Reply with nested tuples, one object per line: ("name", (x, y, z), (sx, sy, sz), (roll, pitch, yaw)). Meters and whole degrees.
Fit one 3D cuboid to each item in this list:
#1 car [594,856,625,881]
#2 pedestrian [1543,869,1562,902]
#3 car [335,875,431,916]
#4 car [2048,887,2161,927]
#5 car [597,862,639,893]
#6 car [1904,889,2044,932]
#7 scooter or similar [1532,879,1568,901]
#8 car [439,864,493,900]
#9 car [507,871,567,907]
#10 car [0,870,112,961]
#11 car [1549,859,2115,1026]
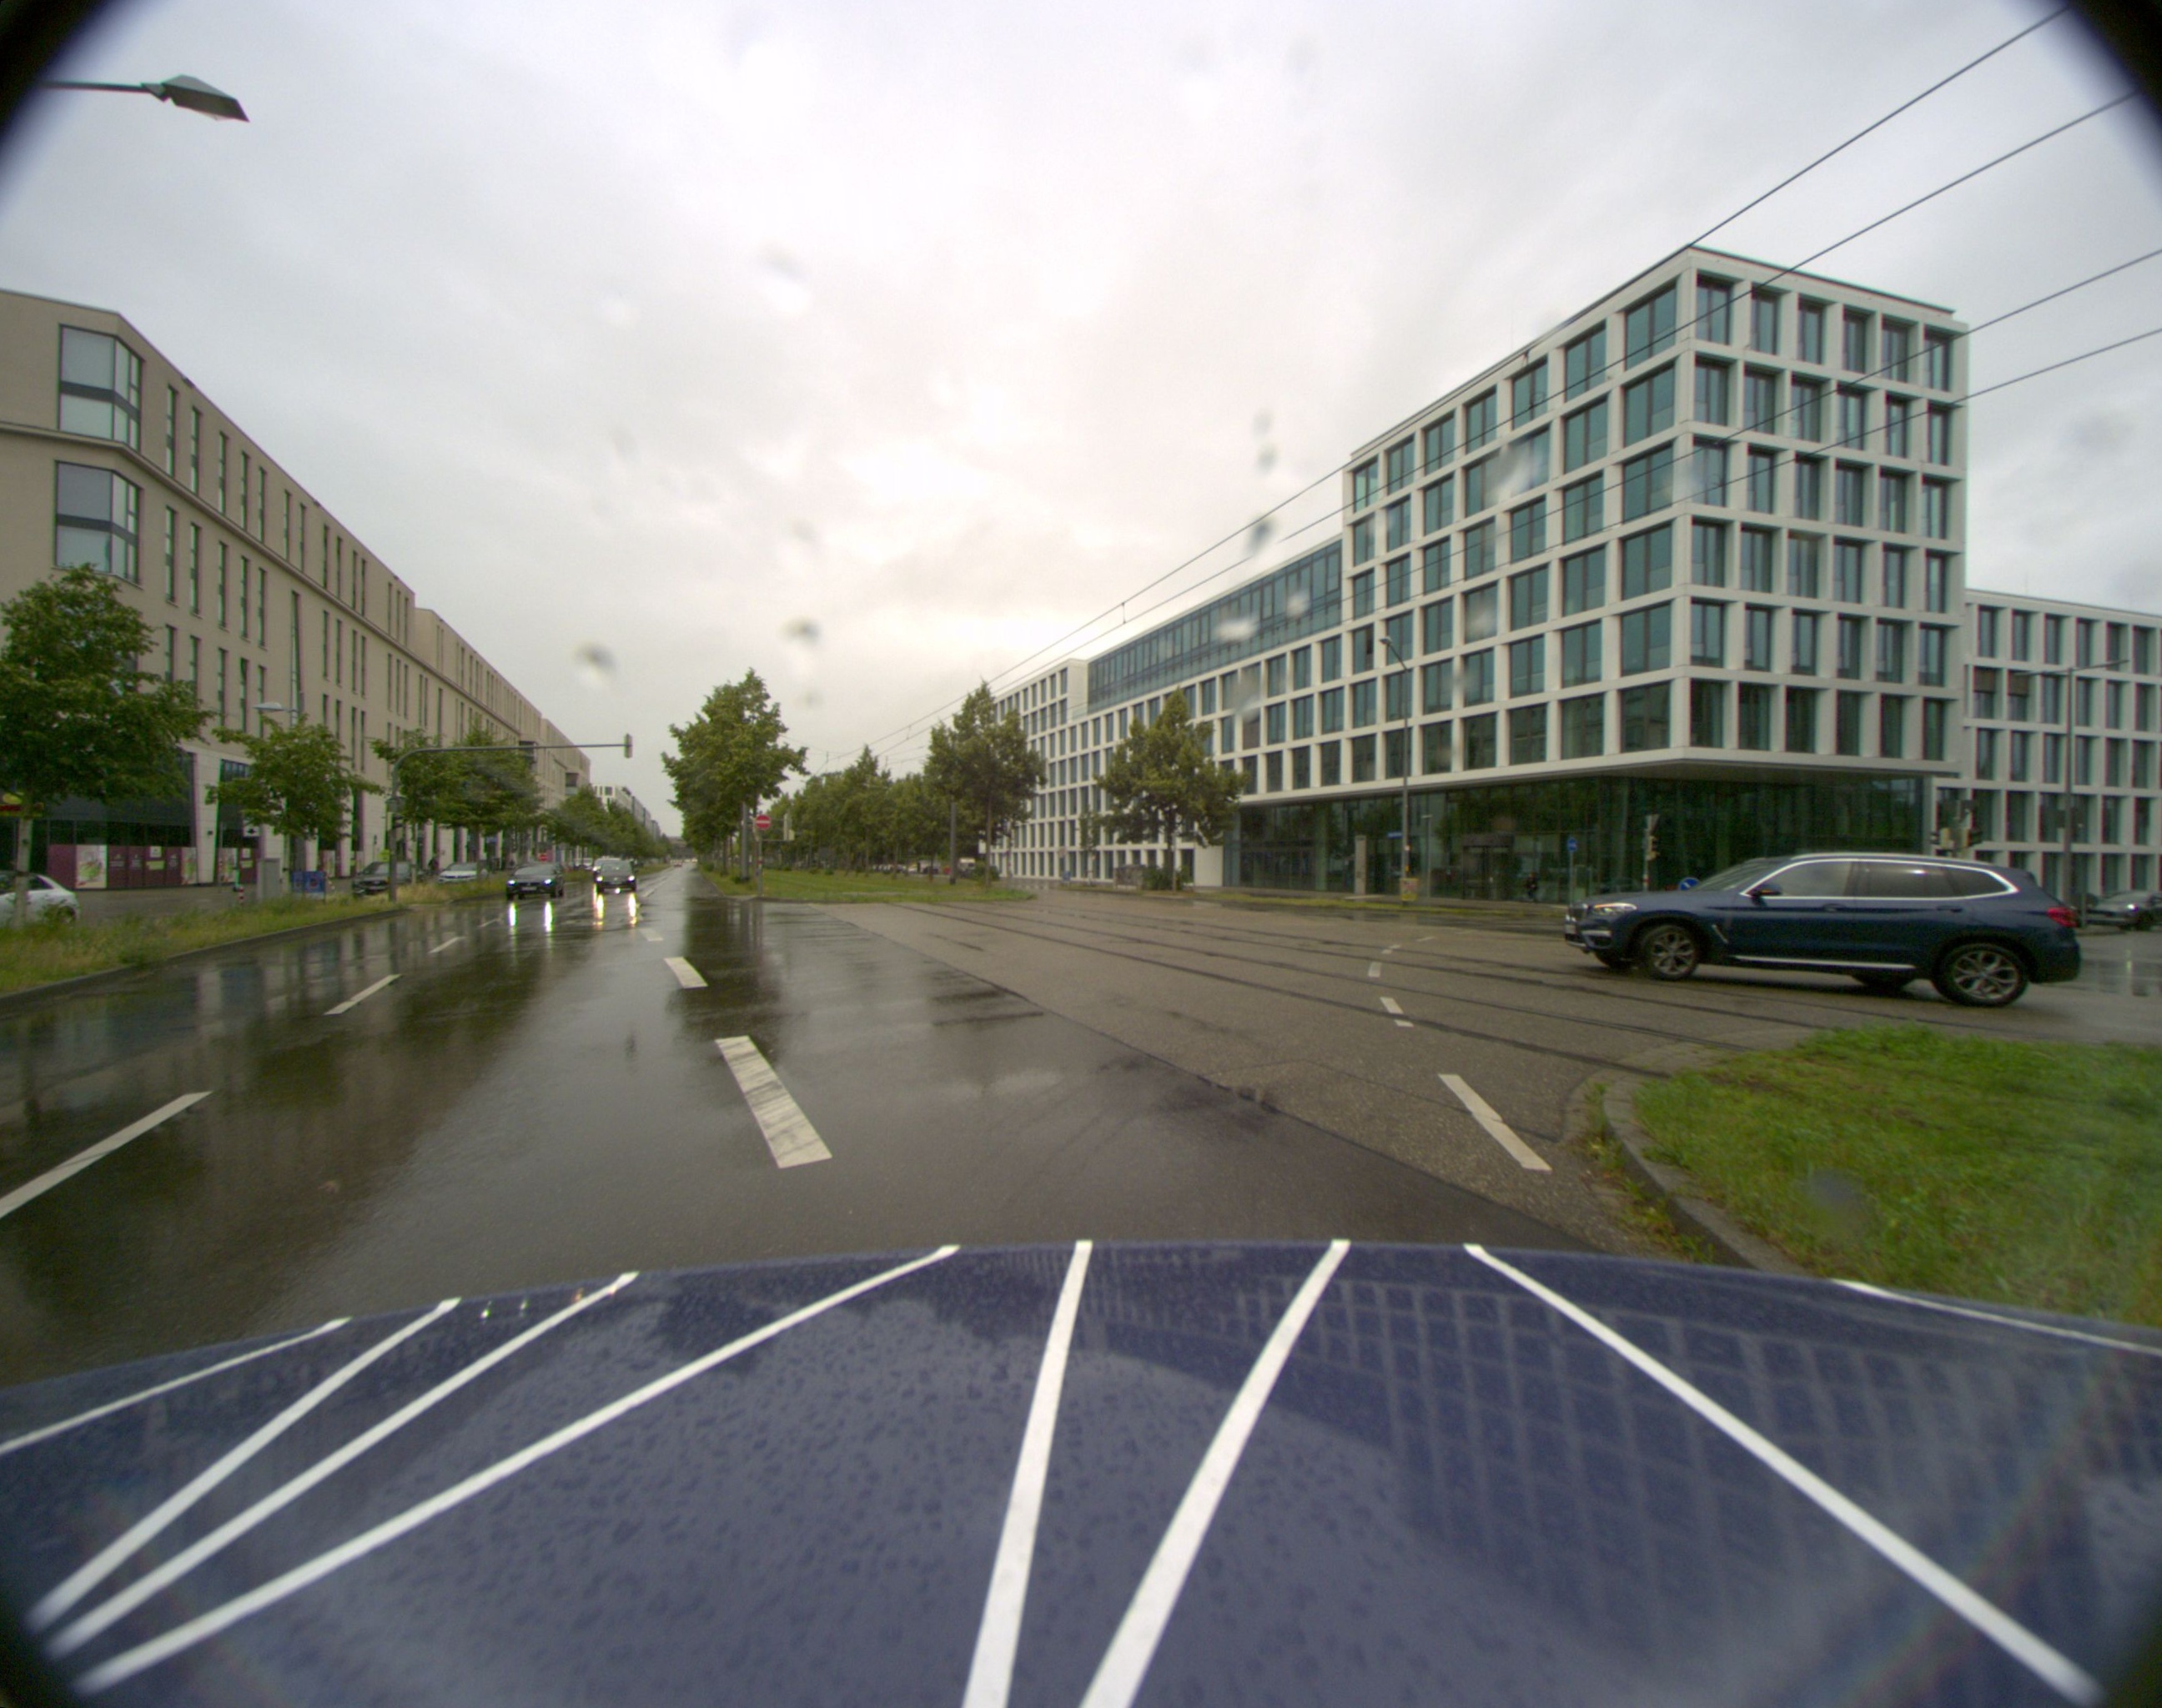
("car", (-38.362, 1.189, 61.845), (1.761, 1.914, 3.992), (0, -2, -27))
("pedestrian", (24.545, 1.636, 39.564), (0.636, 1.634, 0.545), (1, 1, -26))
("car", (-31.224, 1.839, 34.170), (2.003, 1.697, 4.829), (0, -2, -28))
("car", (39.838, 1.990, 29.105), (4.096, 1.427, 1.886), (0, -2, -14))
("car", (-24.174, 1.226, 39.748), (1.661, 1.520, 3.768), (1, -2, -28))
("car", (32.753, 2.028, 27.894), (4.098, 1.427, 1.885), (0, -2, -18))
("scooter or similar", (24.446, 1.866, 39.590), (2.166, 1.145, 0.549), (1, -2, -28))
("car", (-36.157, 1.658, 44.756), (1.920, 2.001, 3.991), (1, -2, -32))
("car", (-24.083, 1.530, 33.758), (1.691, 1.520, 3.961), (1, -2, -28))
("car", (-21.292, 1.156, 14.251), (2.003, 1.697, 4.829), (0, -2, -28))
("car", (8.869, 0.938, 9.640), (4.704, 1.650, 1.933), (1, 0, 22))
